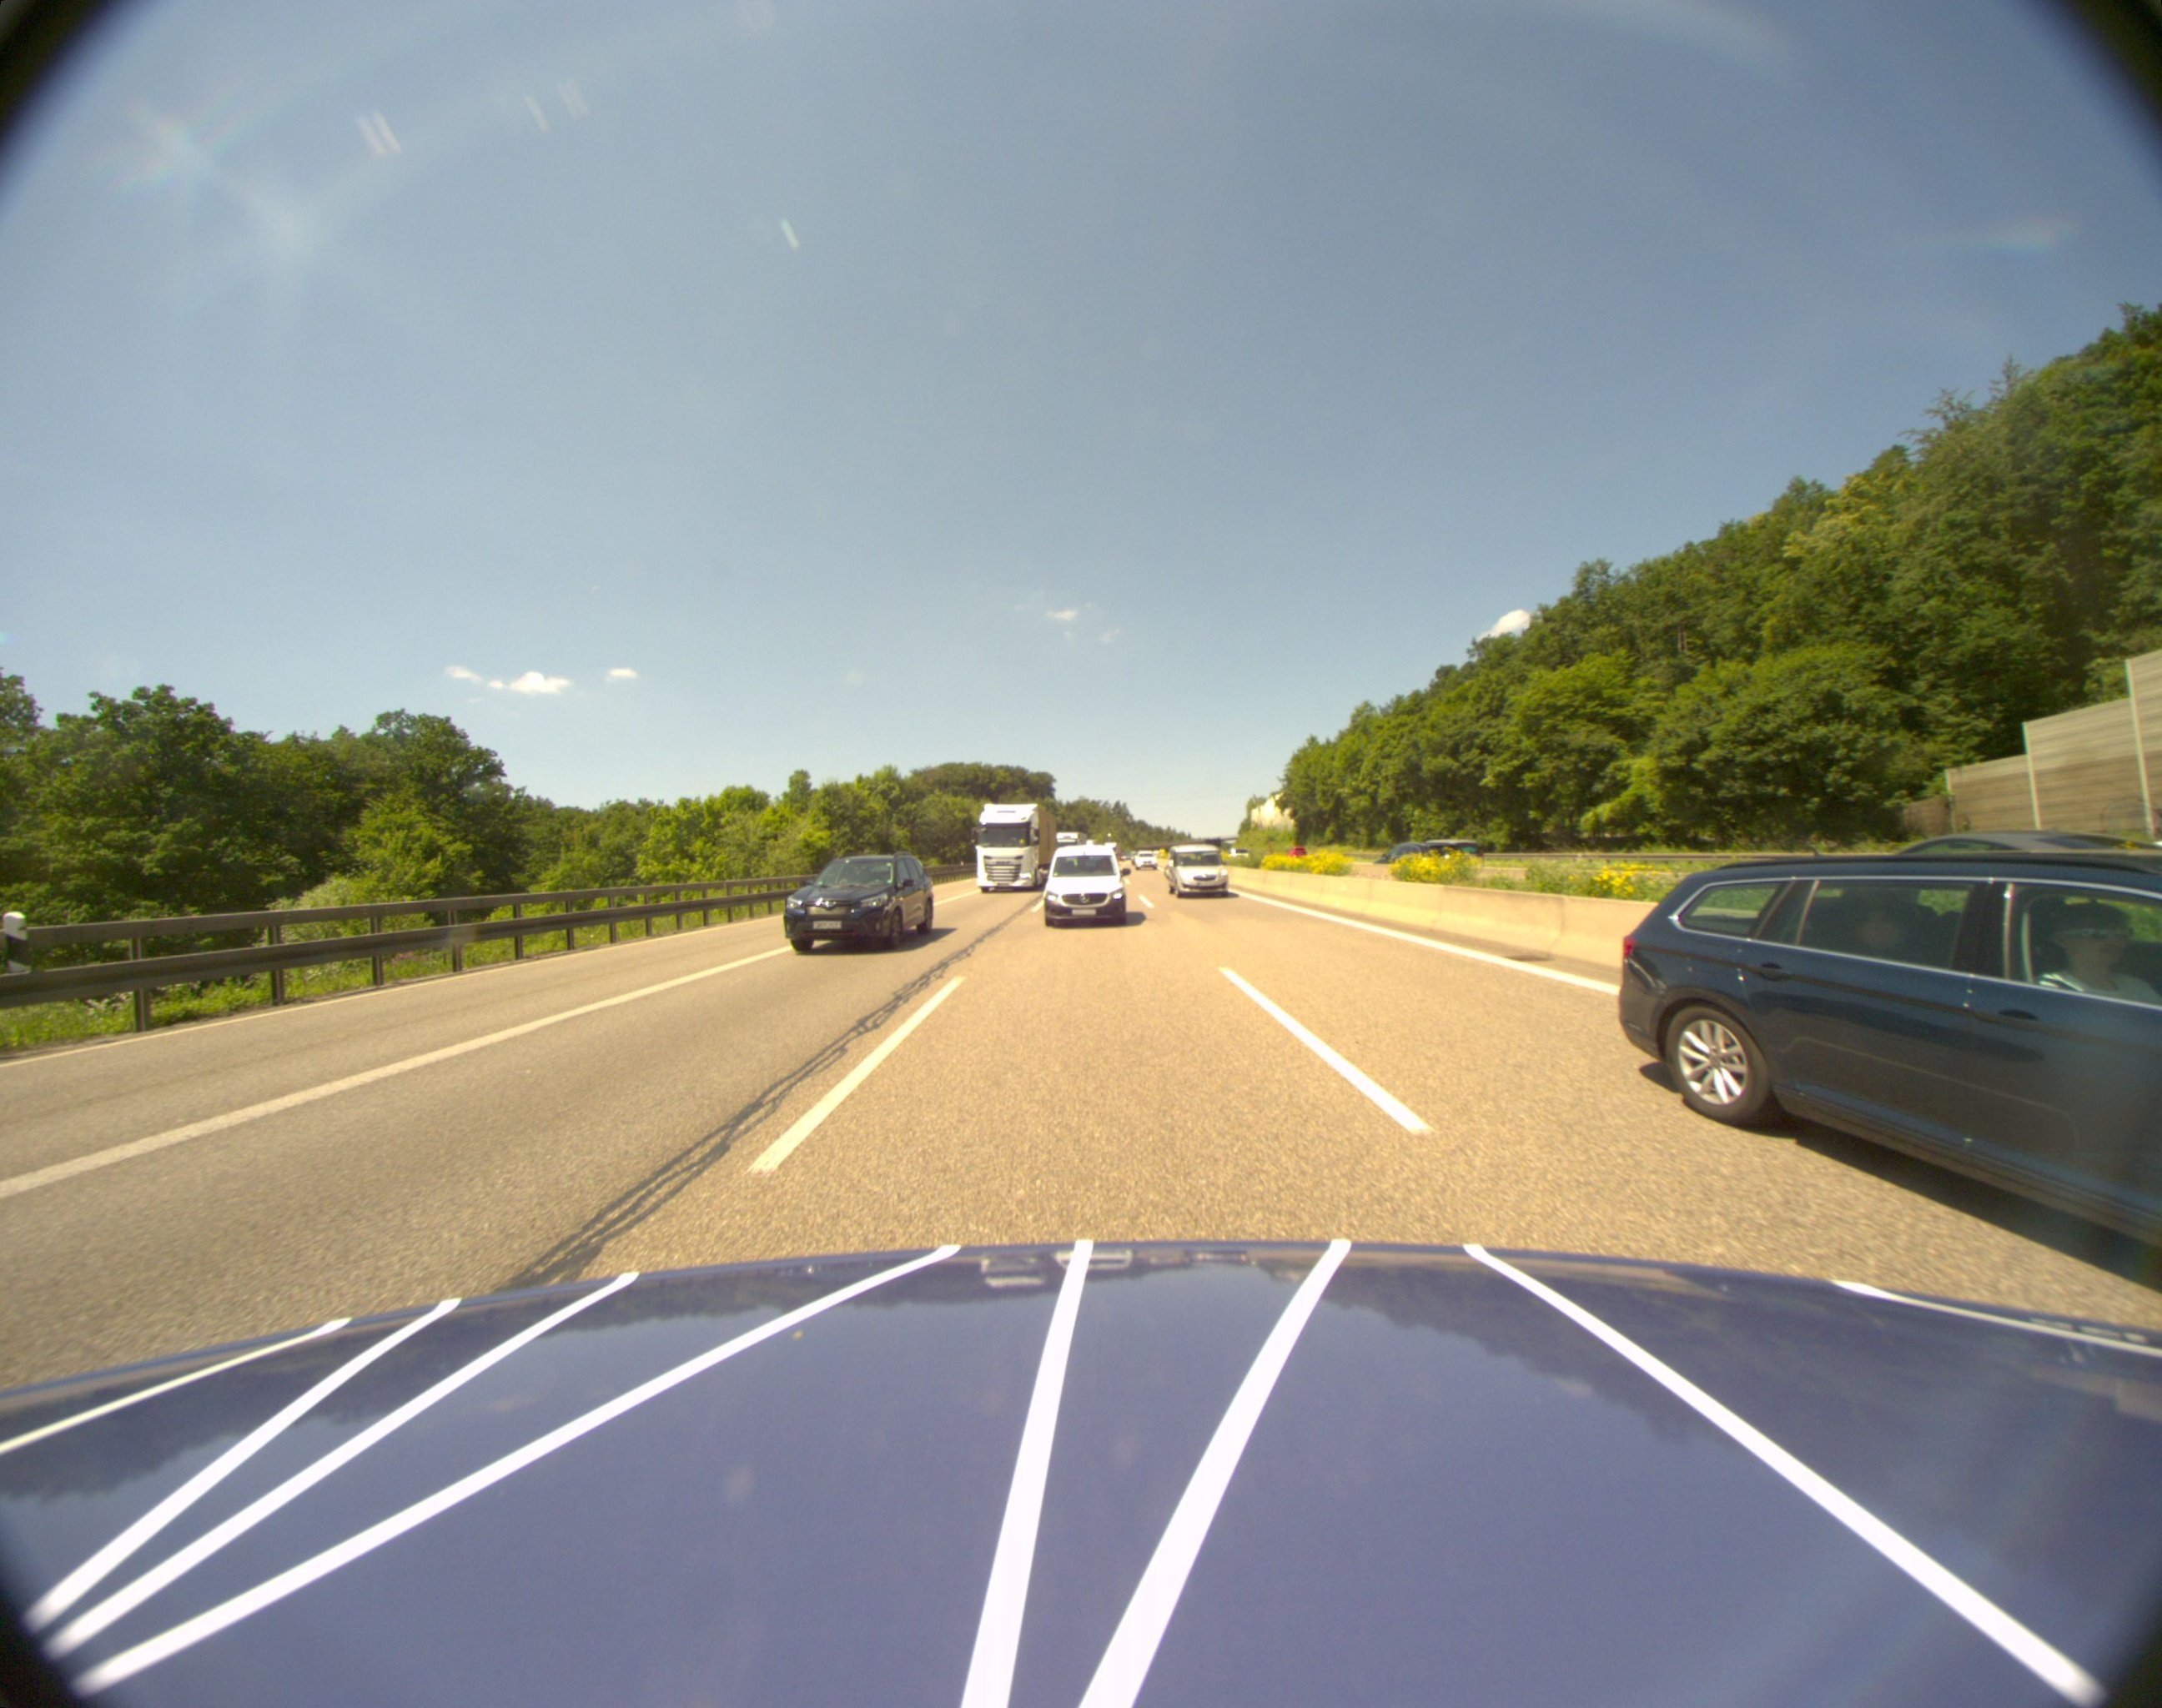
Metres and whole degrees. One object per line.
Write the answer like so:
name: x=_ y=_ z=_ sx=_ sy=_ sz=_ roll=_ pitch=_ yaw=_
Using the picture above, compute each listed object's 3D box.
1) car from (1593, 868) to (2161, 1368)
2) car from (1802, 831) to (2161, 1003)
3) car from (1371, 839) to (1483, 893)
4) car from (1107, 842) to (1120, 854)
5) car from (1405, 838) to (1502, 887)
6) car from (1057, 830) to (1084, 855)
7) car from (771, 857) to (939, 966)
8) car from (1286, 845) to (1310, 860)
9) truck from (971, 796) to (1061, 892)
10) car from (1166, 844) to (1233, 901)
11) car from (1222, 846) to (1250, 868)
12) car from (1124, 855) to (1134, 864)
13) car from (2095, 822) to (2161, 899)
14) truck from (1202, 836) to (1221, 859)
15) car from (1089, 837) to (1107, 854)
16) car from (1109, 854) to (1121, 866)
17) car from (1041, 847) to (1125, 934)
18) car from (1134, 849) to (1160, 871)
car: x=4.149 y=0.832 z=2.529 sx=1.737 sy=1.419 sz=4.730 roll=-2 pitch=0 yaw=1
car: x=11.300 y=0.577 z=9.189 sx=1.647 sy=1.641 sz=3.712 roll=-2 pitch=1 yaw=0
car: x=11.699 y=0.374 z=26.039 sx=1.728 sy=1.613 sz=4.690 roll=-2 pitch=0 yaw=1
car: x=7.543 y=-1.403 z=175.367 sx=2.721 sy=2.534 sz=5.940 roll=-2 pitch=1 yaw=1
car: x=15.820 y=0.308 z=32.573 sx=1.998 sy=1.888 sz=4.505 roll=-2 pitch=1 yaw=1
car: x=-1.099 y=-1.266 z=84.646 sx=2.721 sy=2.534 sz=5.940 roll=-2 pitch=1 yaw=1
car: x=-4.080 y=0.950 z=14.502 sx=1.816 sy=1.658 sz=4.203 roll=-2 pitch=1 yaw=1
car: x=25.832 y=-0.204 z=90.489 sx=1.731 sy=1.625 sz=4.000 roll=-2 pitch=1 yaw=1
truck: x=-3.049 y=-0.525 z=41.198 sx=2.789 sy=4.145 sz=16.268 roll=-1 pitch=1 yaw=2
car: x=4.125 y=0.599 z=26.995 sx=1.780 sy=1.833 sz=4.000 roll=-2 pitch=0 yaw=1
car: x=13.023 y=0.271 z=64.038 sx=1.536 sy=1.760 sz=3.885 roll=-2 pitch=0 yaw=1
car: x=10.789 y=1.289 z=171.487 sx=1.998 sy=2.002 sz=4.000 roll=-2 pitch=0 yaw=0
car: x=21.650 y=0.107 z=13.474 sx=1.634 sy=1.473 sz=4.313 roll=-2 pitch=0 yaw=1
truck: x=20.817 y=-1.070 z=121.134 sx=1.998 sy=3.485 sz=6.026 roll=-2 pitch=0 yaw=1
car: x=2.707 y=-1.338 z=119.659 sx=2.721 sy=2.534 sz=5.940 roll=-2 pitch=1 yaw=1
car: x=6.115 y=1.060 z=138.198 sx=1.902 sy=2.002 sz=4.000 roll=-2 pitch=0 yaw=-1
car: x=0.092 y=0.750 z=18.133 sx=1.729 sy=1.760 sz=4.313 roll=-2 pitch=1 yaw=1
car: x=5.943 y=0.527 z=69.156 sx=1.998 sy=1.827 sz=4.000 roll=-2 pitch=0 yaw=1
